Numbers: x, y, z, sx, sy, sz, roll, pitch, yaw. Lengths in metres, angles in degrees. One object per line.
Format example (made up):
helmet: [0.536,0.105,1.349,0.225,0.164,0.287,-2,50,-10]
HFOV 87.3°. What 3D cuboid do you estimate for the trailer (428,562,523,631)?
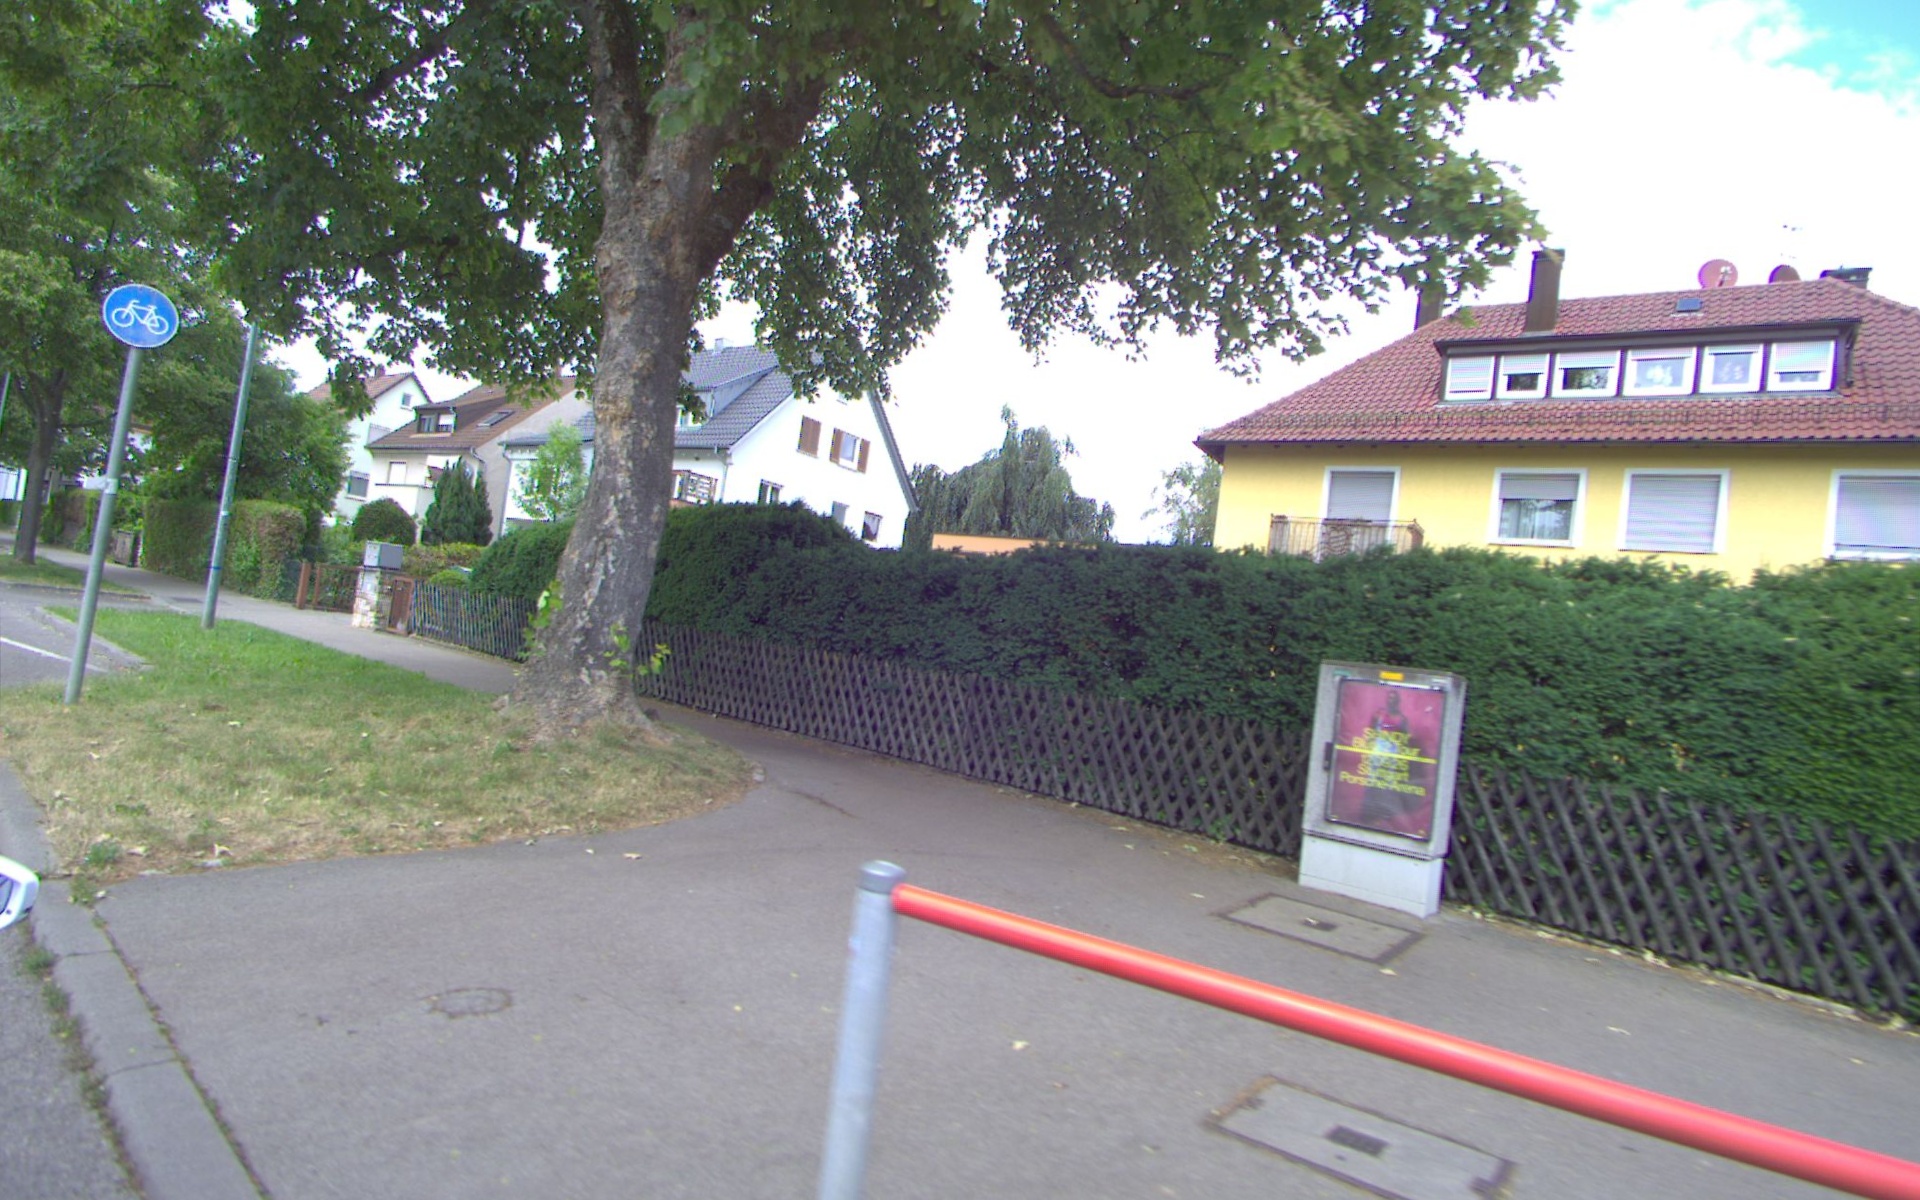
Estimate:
trailer: [-12.002,-0.082,24.956,1.132,1.388,1.585,7,-5,34]

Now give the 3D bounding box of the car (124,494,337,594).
car: [-26.350,-1.947,36.592,1.966,2.621,5.720,8,-2,35]
